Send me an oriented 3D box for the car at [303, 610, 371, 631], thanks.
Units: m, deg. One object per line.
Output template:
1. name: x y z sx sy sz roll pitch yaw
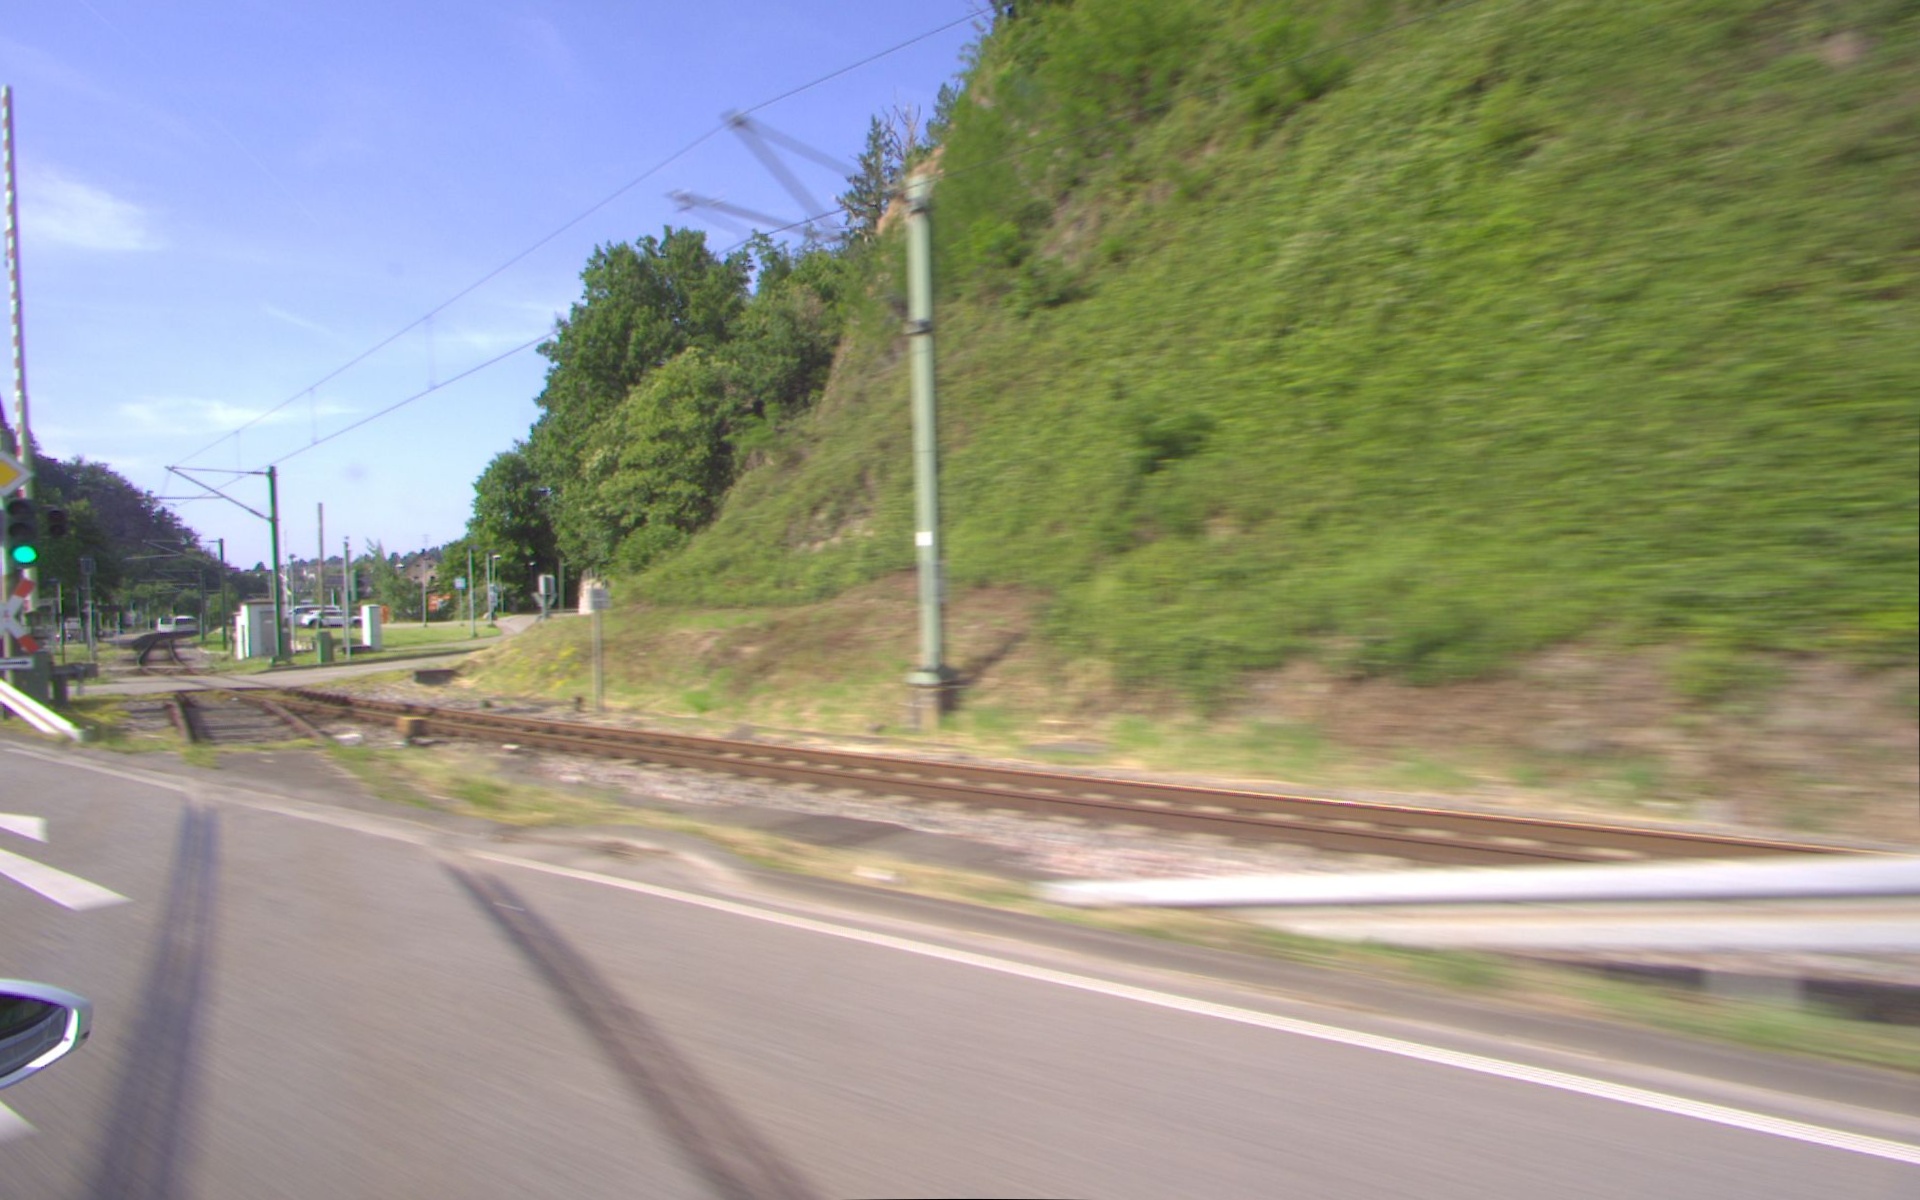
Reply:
1. car: -45.274 1.490 72.789 4.062 1.416 1.795 0 -1 -39

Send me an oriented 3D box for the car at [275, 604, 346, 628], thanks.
1. car: -55.586 1.337 85.719 4.909 1.969 2.125 0 -1 -39

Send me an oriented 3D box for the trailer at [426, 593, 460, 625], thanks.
1. trailer: -66.259 1.168 128.507 2.570 3.944 7.716 -3 0 -19

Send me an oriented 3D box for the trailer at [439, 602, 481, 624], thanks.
1. trailer: -52.960 1.340 106.152 3.640 2.218 1.814 -2 0 -20
